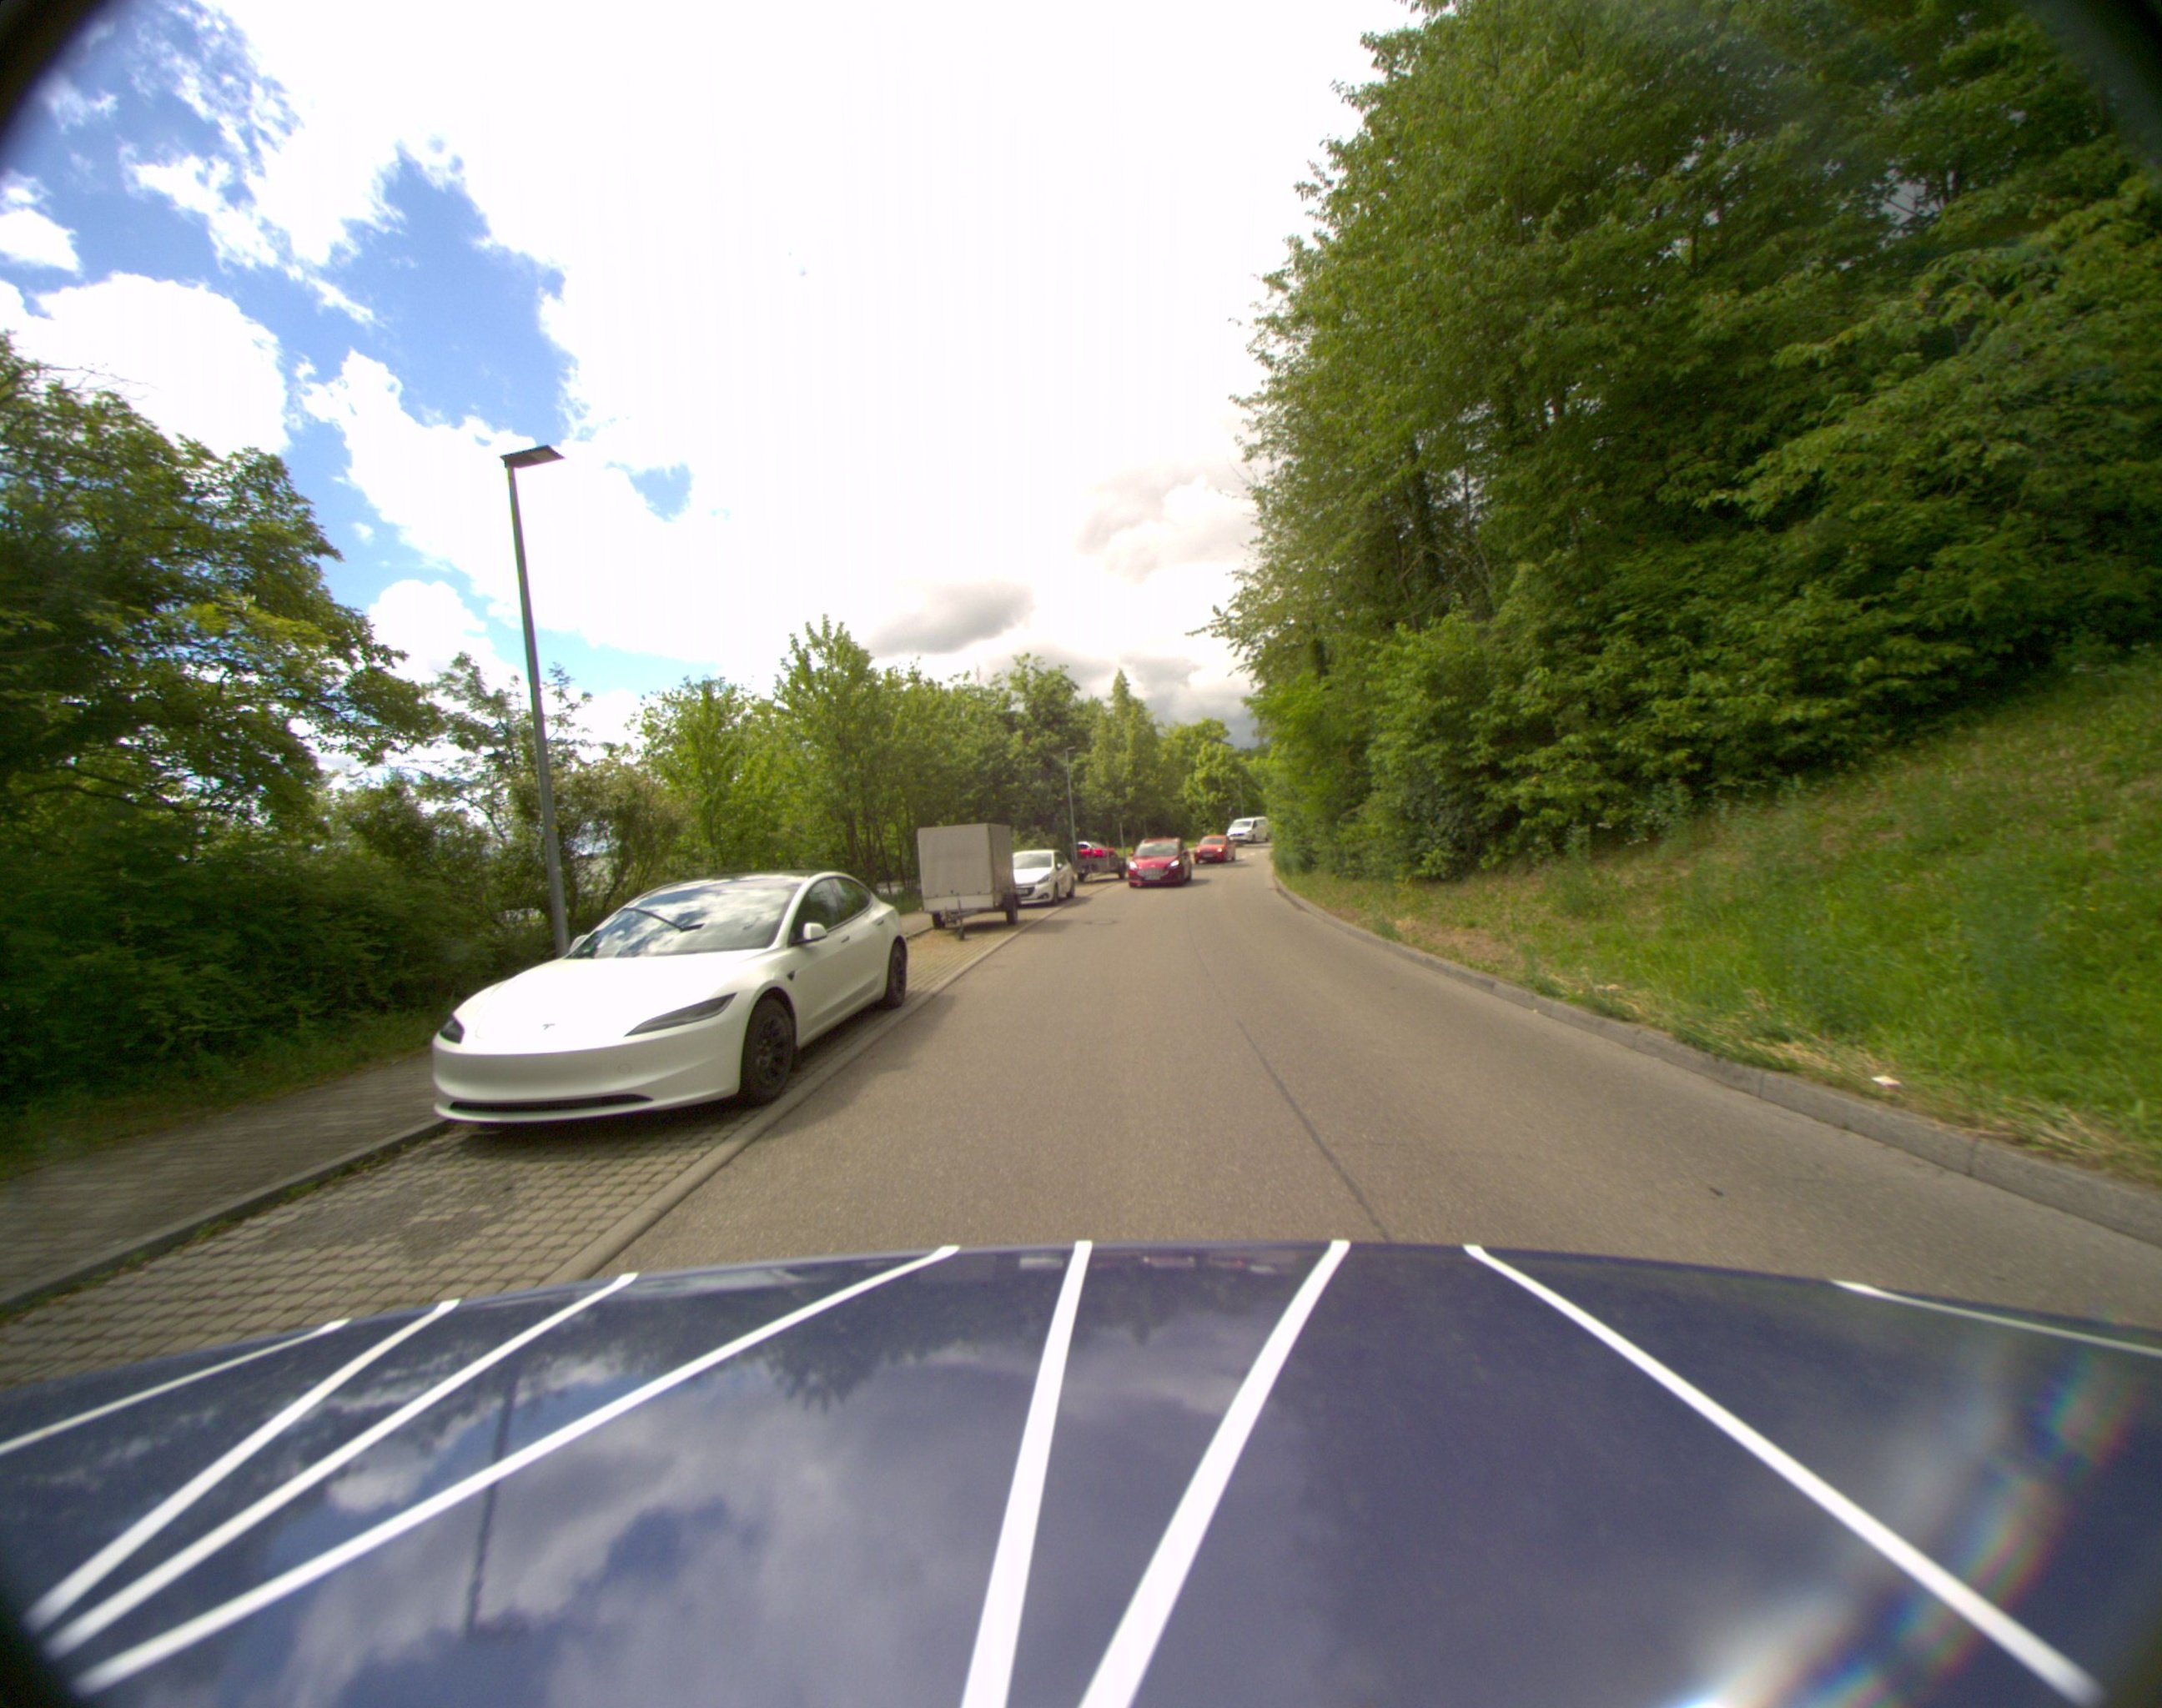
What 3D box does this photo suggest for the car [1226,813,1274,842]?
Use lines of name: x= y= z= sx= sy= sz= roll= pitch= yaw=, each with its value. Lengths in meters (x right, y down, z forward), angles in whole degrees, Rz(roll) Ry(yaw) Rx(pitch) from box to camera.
car: x=13.620 y=-2.170 z=60.913 sx=1.866 sy=2.048 sz=5.435 roll=-1 pitch=3 yaw=34

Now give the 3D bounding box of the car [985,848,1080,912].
car: x=-1.230 y=0.652 z=21.010 sx=1.709 sy=1.469 sz=3.785 roll=-2 pitch=2 yaw=10

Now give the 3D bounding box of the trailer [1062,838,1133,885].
trailer: x=0.747 y=0.241 z=30.160 sx=1.812 sy=1.570 sz=4.493 roll=-3 pitch=2 yaw=14

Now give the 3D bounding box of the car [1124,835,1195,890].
car: x=2.904 y=0.245 z=27.232 sx=1.910 sy=1.689 sz=4.389 roll=-1 pitch=2 yaw=14

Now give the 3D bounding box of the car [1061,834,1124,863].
car: x=0.707 y=-0.358 z=47.428 sx=3.479 sy=1.509 sz=1.654 roll=-3 pitch=3 yaw=33

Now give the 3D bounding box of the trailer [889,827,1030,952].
trailer: x=-2.193 y=0.565 z=14.809 sx=1.734 sy=2.066 sz=3.783 roll=-3 pitch=2 yaw=5

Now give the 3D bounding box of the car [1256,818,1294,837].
car: x=16.787 y=-2.321 z=65.637 sx=1.792 sy=1.405 sz=4.111 roll=-1 pitch=3 yaw=34

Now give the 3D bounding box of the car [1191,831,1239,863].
car: x=7.337 y=-0.407 z=41.266 sx=1.793 sy=1.405 sz=4.116 roll=-1 pitch=4 yaw=21

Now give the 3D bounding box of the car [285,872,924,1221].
car: x=-2.809 y=0.995 z=6.115 sx=1.867 sy=1.468 sz=4.902 roll=-3 pitch=0 yaw=2
